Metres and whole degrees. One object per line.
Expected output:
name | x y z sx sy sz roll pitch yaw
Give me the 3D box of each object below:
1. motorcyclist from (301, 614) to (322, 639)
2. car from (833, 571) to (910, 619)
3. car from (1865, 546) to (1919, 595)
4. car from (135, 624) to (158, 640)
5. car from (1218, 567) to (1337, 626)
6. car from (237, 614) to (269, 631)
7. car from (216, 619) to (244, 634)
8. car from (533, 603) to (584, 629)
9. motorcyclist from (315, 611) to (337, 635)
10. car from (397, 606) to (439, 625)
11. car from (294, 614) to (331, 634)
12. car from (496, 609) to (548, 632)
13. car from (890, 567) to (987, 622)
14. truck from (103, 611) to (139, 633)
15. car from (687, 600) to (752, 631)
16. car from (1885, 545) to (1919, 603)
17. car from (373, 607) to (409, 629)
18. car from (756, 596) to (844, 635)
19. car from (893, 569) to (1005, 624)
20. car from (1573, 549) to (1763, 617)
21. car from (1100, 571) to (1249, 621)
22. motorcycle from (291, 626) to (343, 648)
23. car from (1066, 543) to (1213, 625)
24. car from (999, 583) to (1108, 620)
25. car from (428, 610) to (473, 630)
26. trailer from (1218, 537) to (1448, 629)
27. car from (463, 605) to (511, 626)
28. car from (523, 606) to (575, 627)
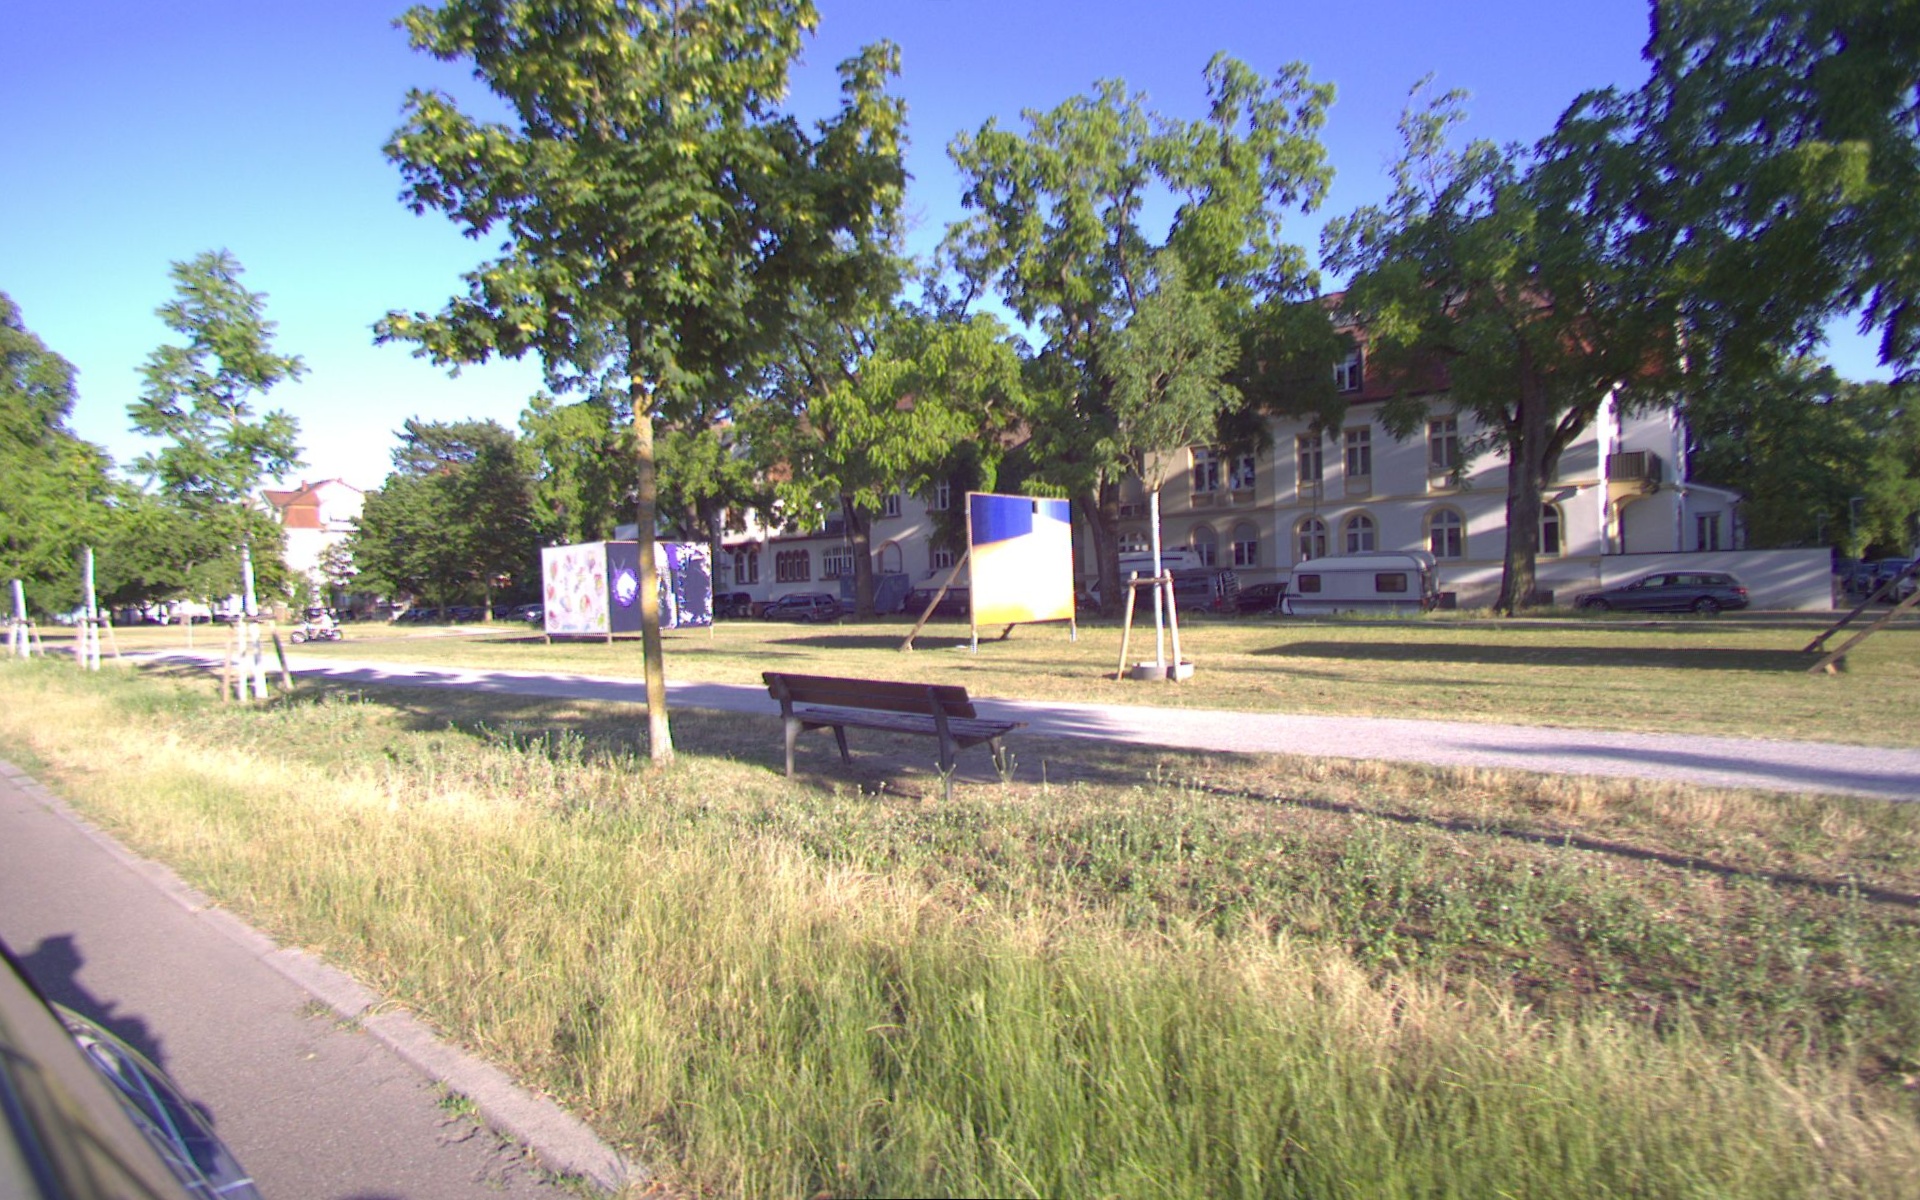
motorcyclist | -31.299 1.277 48.864 0.748 1.158 0.569 -2 0 33
car | -4.871 -0.292 55.417 3.998 2.560 1.973 0 1 41
car | 36.709 -1.172 39.288 2.070 1.782 5.002 -2 0 39
car | -116.301 4.577 144.699 4.000 2.029 1.972 -3 -1 43
car | 12.481 -0.131 39.912 3.998 2.170 1.973 -2 0 42
car | -77.723 2.488 111.224 3.998 1.715 1.973 -3 -1 41
car | -96.910 3.480 134.312 3.995 1.897 1.974 -1 -3 38
car | -26.444 1.055 66.572 1.868 1.534 3.683 -1 -1 -43
motorcyclist | -31.009 1.111 49.497 0.747 1.158 0.570 -2 0 29
car | -43.005 1.222 80.309 3.636 1.341 1.542 -3 -1 37
car | -62.455 2.303 97.608 3.999 1.858 1.972 -1 -3 42
car | -29.998 1.419 69.293 3.636 1.418 1.672 -3 -1 37
car | -1.150 -0.252 52.307 5.042 2.660 1.925 -1 -3 41
truck | -128.295 3.407 154.771 7.703 3.170 2.750 -2 0 40
car | -15.357 1.009 64.442 4.280 1.838 1.605 -3 -1 37
car | 33.531 -0.946 34.790 1.977 1.914 4.472 -2 0 36
car | -56.557 1.765 100.549 4.001 2.029 1.972 -2 1 44
car | -8.022 0.781 50.636 4.341 1.742 1.974 -3 -1 40
car | -0.516 -0.120 44.001 4.565 2.191 1.974 -3 -1 39
car | 22.338 -0.504 32.042 4.712 1.927 1.870 -2 0 42
car | 7.782 -0.127 36.966 4.946 1.654 1.974 -1 1 39
motorcycle | -31.139 1.798 49.047 0.564 0.964 2.087 -2 0 33
car | 7.782 -0.624 44.382 6.071 3.274 1.973 -3 -1 41
car | 3.691 0.078 40.303 4.043 1.325 1.833 -1 1 44
car | -38.734 1.519 76.932 3.636 1.427 1.542 -3 -1 37
trailer | 12.054 -0.458 33.028 6.632 2.679 2.448 -1 -3 40
car | -34.083 1.121 72.892 3.636 1.379 1.542 -3 -1 37
car | -32.079 1.286 78.979 3.992 1.510 1.976 -3 -1 36
